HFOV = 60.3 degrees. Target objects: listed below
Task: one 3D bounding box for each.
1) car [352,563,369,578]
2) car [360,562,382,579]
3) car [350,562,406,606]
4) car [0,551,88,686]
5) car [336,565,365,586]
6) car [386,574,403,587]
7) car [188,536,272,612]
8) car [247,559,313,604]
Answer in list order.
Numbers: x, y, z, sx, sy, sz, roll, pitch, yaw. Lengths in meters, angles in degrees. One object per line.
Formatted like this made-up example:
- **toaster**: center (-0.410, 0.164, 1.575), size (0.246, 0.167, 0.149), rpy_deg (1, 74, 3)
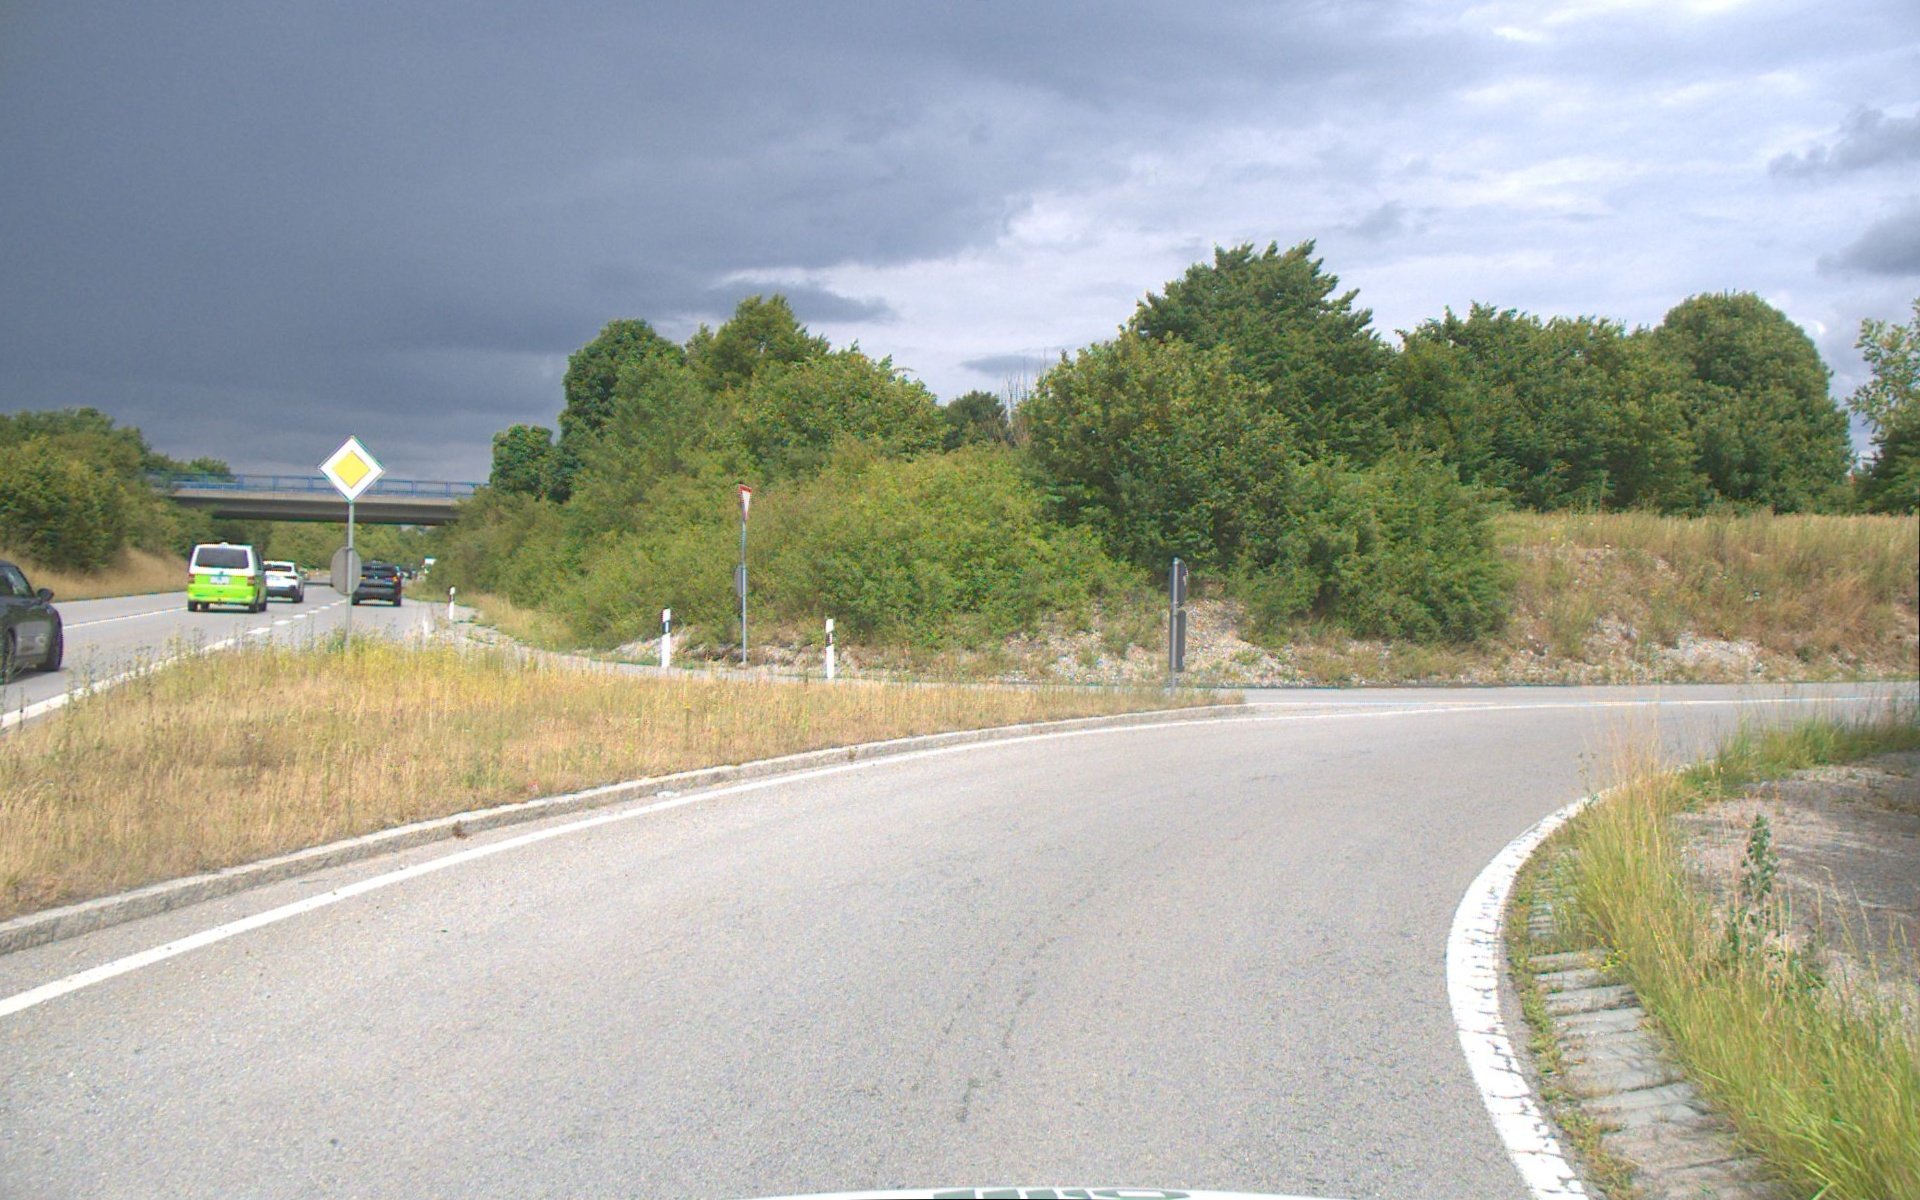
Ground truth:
- **car**: center (-84.450, -4.176, 233.087), size (1.961, 2.049, 3.983), rpy_deg (2, 0, -16)
- **car**: center (-52.220, -2.624, 146.774), size (1.641, 1.427, 3.980), rpy_deg (2, 0, -18)
- **car**: center (-23.054, -0.643, 65.532), size (1.964, 1.579, 3.977), rpy_deg (3, 0, -20)
- **car**: center (-11.761, 0.134, 19.679), size (1.729, 1.452, 3.980), rpy_deg (3, 0, -18)
- **car**: center (-43.219, -1.731, 117.308), size (1.640, 1.427, 3.982), rpy_deg (2, 0, -16)
- **car**: center (-68.248, -2.389, 199.676), size (1.639, 1.427, 3.984), rpy_deg (2, 0, -15)
- **car**: center (-21.663, -0.763, 49.207), size (1.791, 2.090, 3.980), rpy_deg (3, 0, -18)
- **car**: center (-26.202, -0.735, 63.830), size (1.963, 1.579, 3.980), rpy_deg (3, 0, -18)
